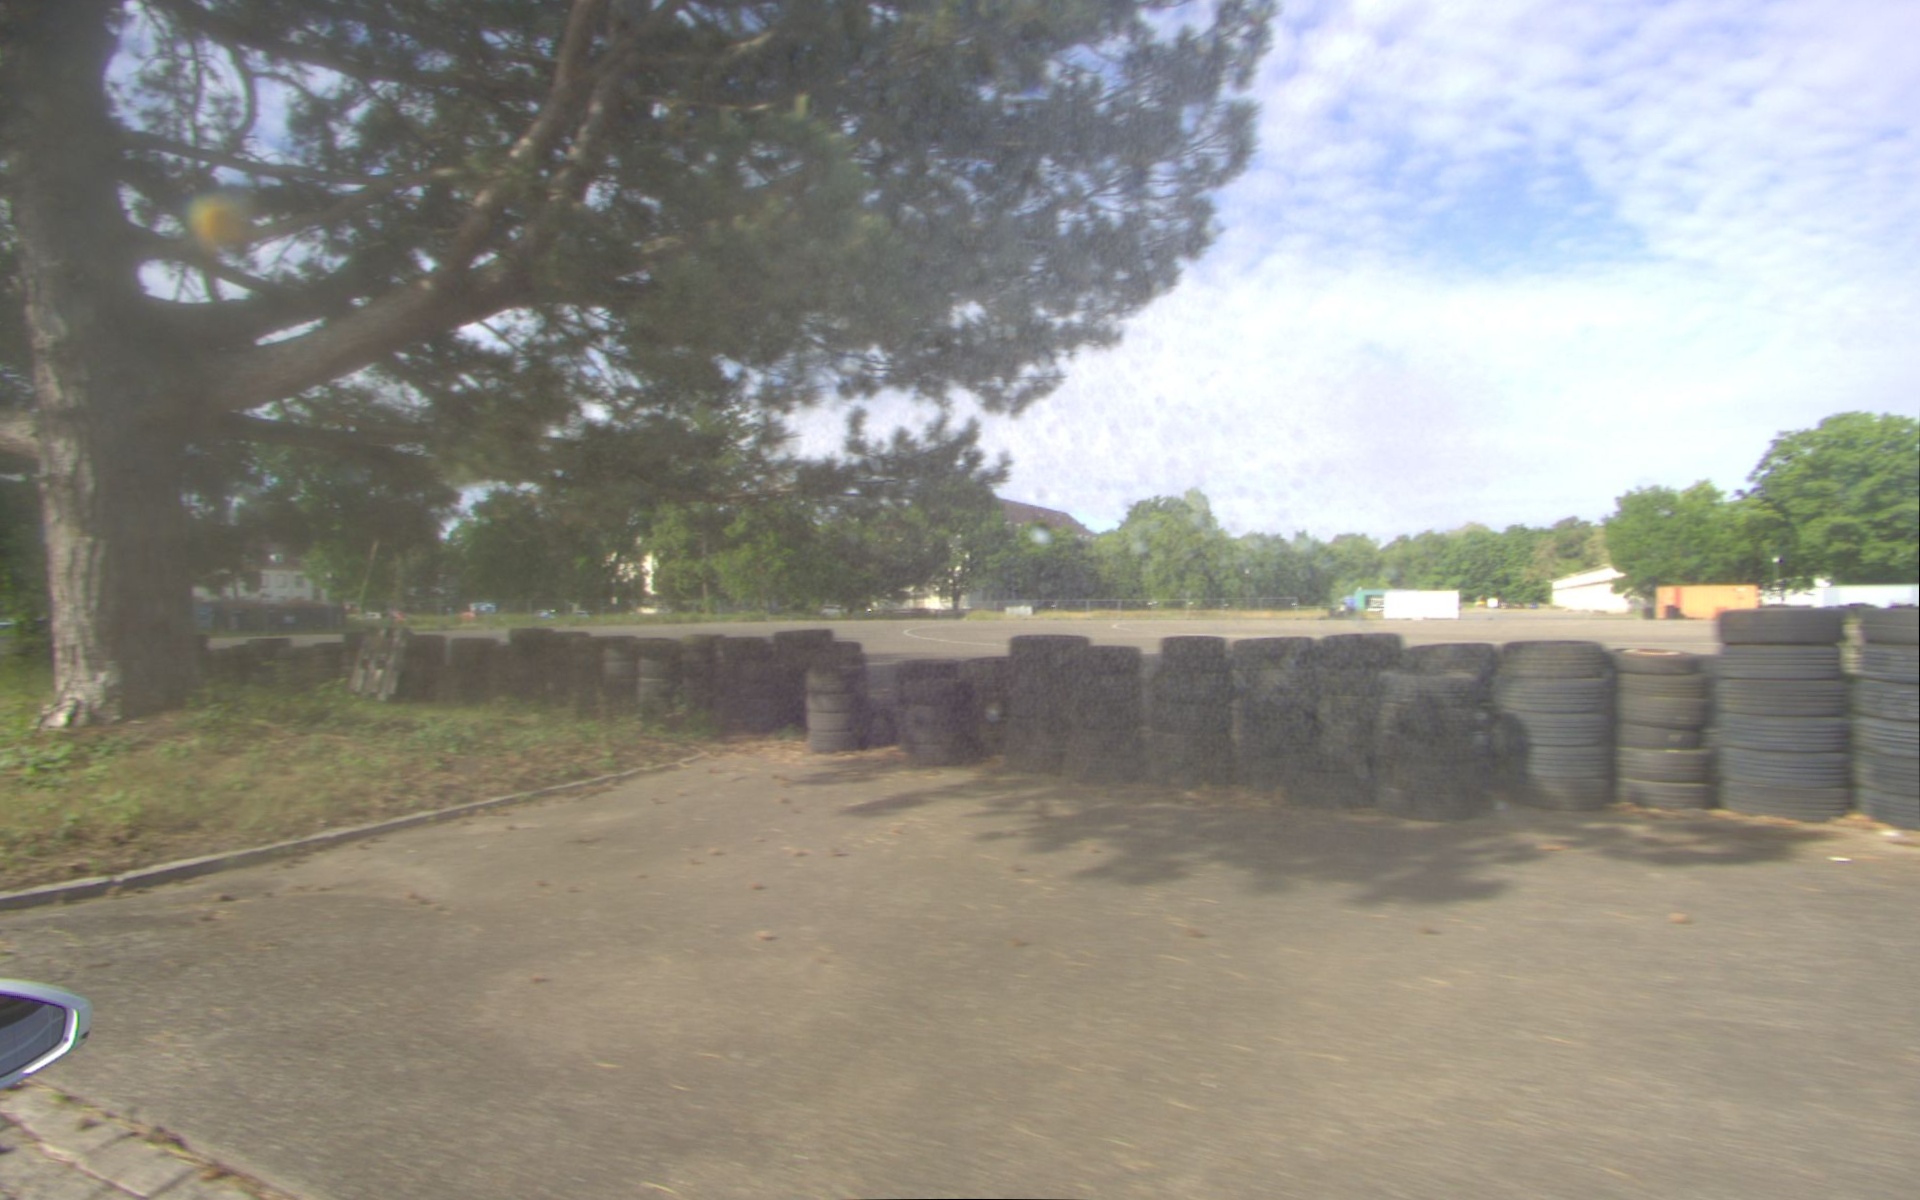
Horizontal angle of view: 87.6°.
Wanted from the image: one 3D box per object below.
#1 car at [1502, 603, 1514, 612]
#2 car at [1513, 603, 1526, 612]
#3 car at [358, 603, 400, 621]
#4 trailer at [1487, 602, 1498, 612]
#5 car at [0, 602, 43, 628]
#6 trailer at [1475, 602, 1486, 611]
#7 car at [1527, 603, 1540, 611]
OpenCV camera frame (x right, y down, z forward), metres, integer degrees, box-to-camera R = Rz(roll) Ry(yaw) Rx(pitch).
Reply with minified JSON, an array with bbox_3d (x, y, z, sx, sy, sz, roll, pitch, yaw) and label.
[{"bbox_3d":[118.044,1.593,215.767,1.967,1.773,3.988,0,0,24],"label":"car"},{"bbox_3d":[120.117,1.549,214.901,2.004,1.832,3.988,0,0,24],"label":"car"},{"bbox_3d":[-56.747,1.143,97.853,3.943,1.773,1.989,0,0,33],"label":"car"},{"bbox_3d":[116.259,1.481,218.535,2.031,2.040,3.986,0,0,26],"label":"trailer"},{"bbox_3d":[-61.688,0.953,65.028,3.938,1.639,1.992,0,0,28],"label":"car"},{"bbox_3d":[114.691,1.454,220.851,1.967,2.040,3.987,0,0,25],"label":"trailer"},{"bbox_3d":[122.343,1.436,213.747,1.967,1.773,3.988,0,0,24],"label":"car"}]
